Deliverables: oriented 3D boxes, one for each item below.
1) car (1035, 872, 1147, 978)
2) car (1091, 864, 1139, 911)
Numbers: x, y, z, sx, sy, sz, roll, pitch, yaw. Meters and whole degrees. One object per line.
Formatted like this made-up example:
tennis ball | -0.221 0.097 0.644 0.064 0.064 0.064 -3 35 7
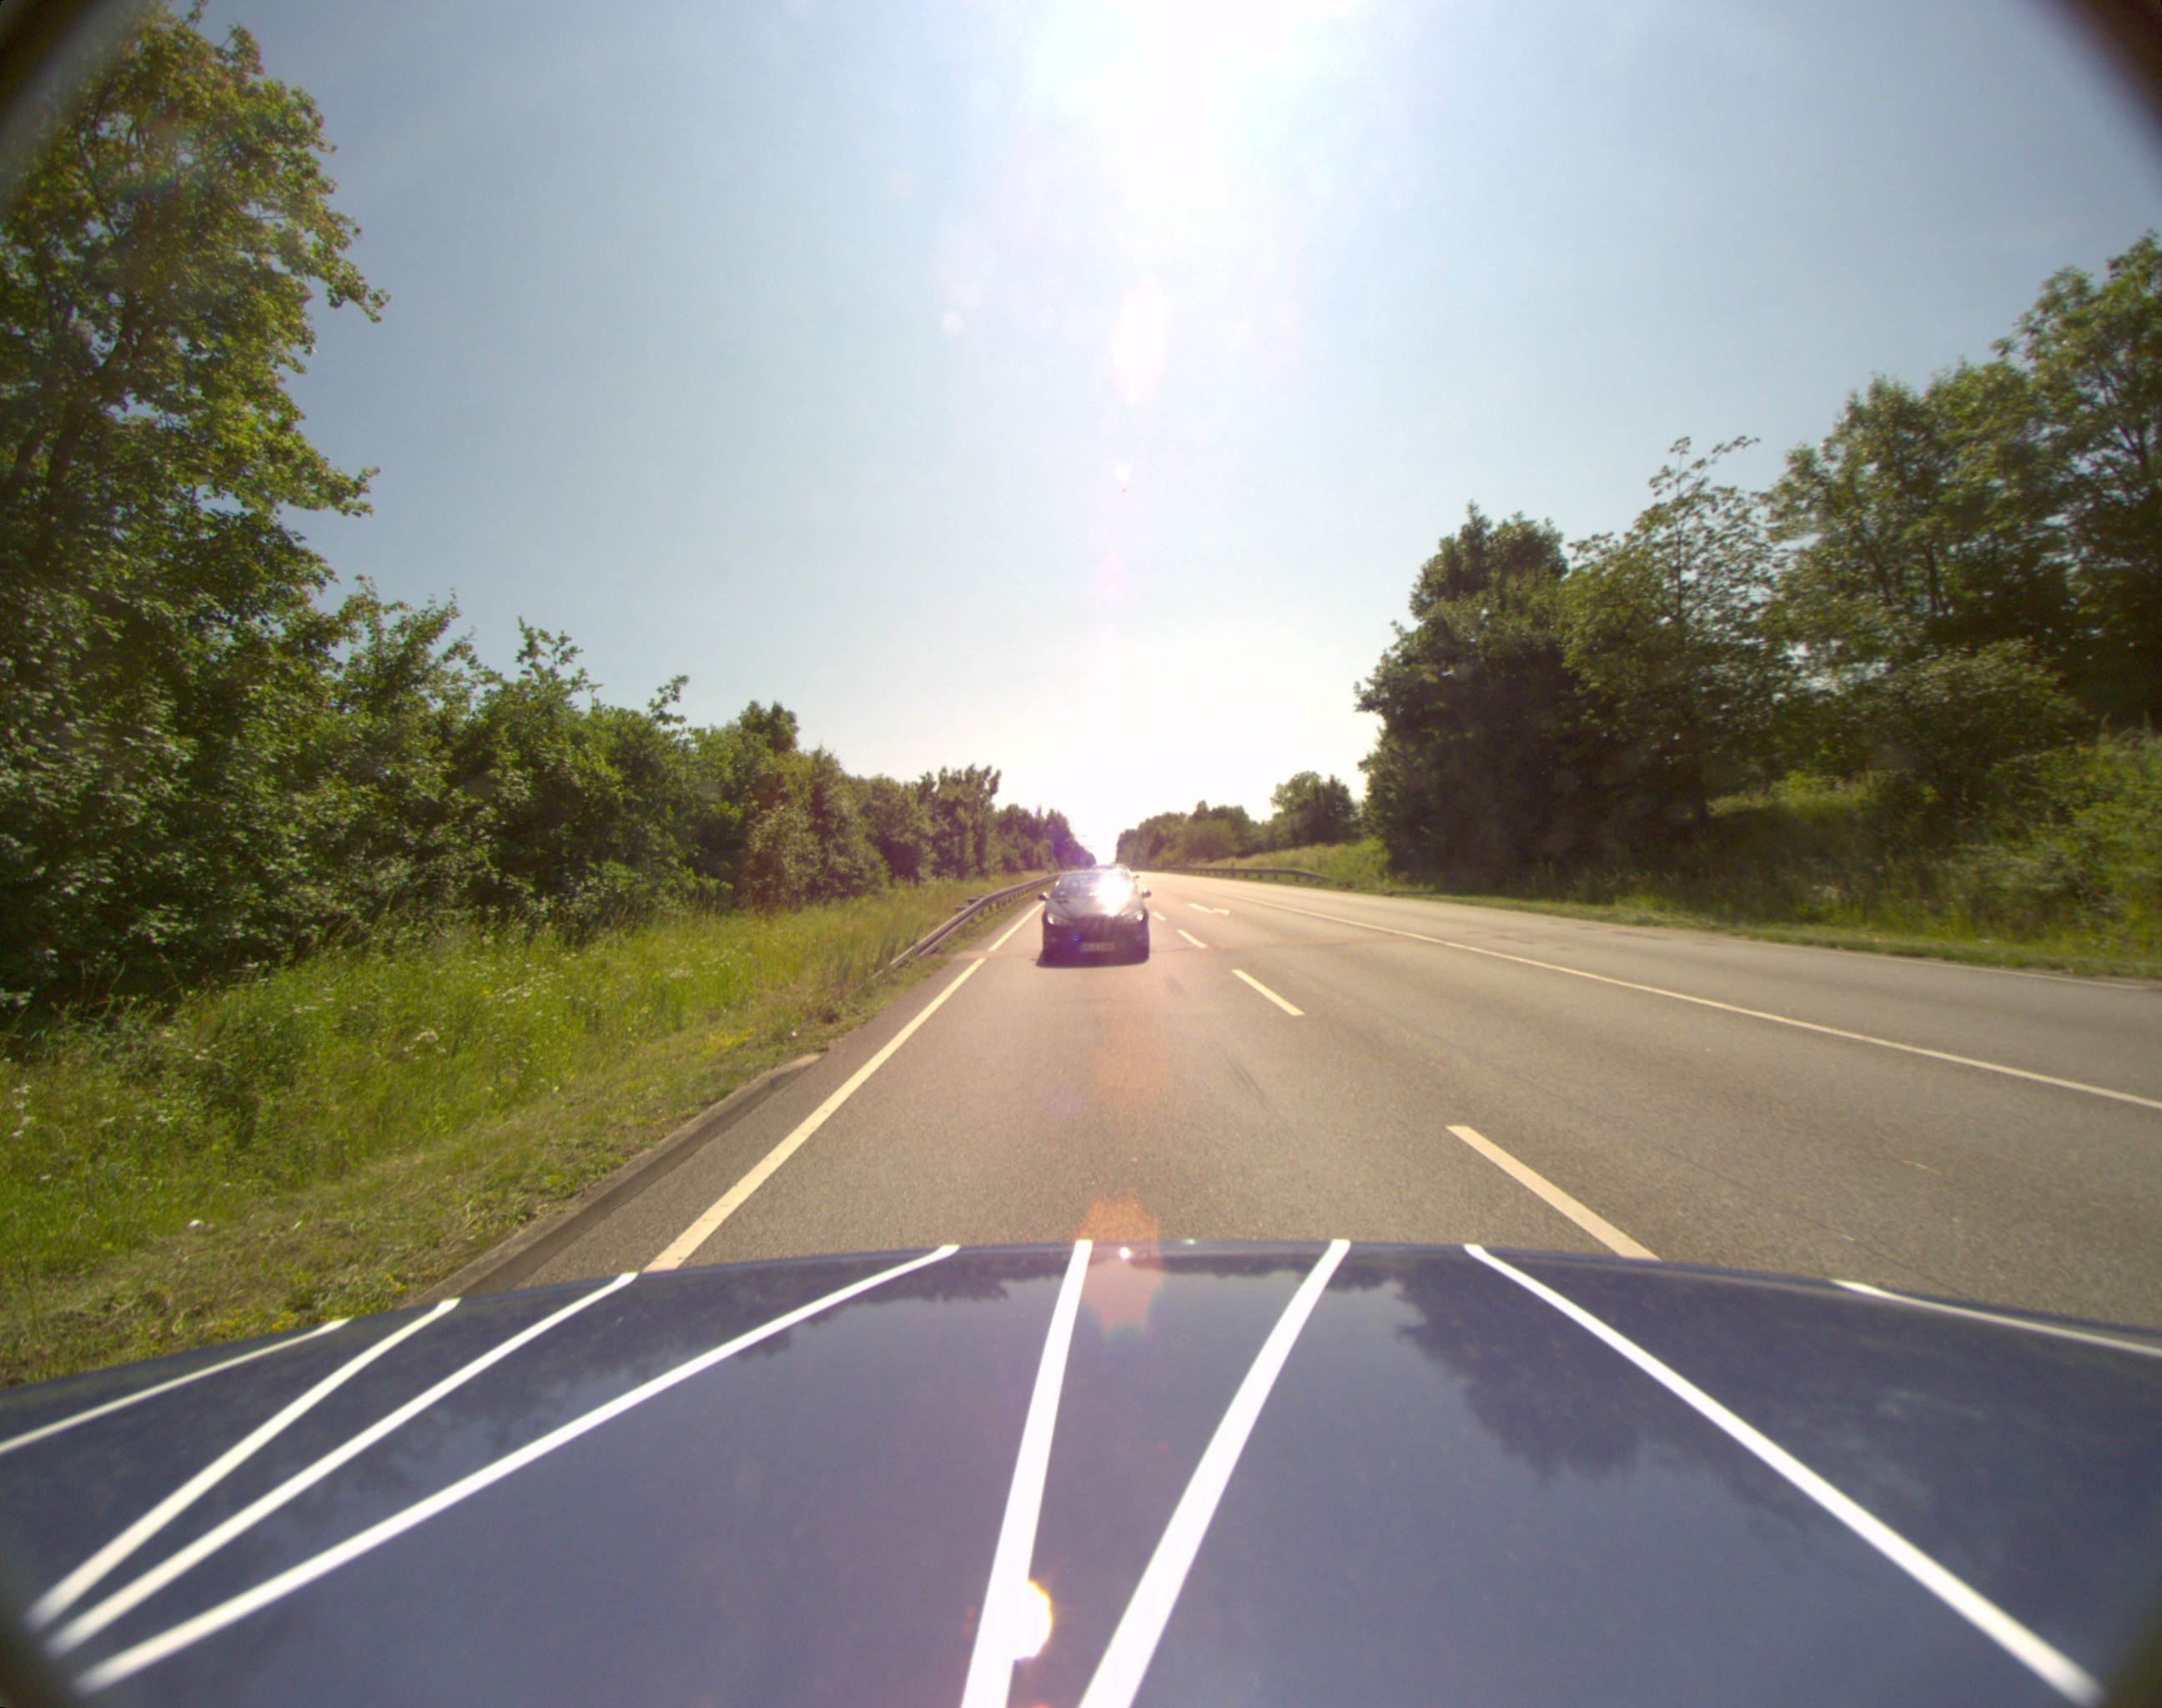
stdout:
car | 0.200 1.043 12.449 1.529 1.387 3.444 -2 0 2
car | 1.093 1.085 25.753 1.443 1.442 3.299 -2 -1 0
